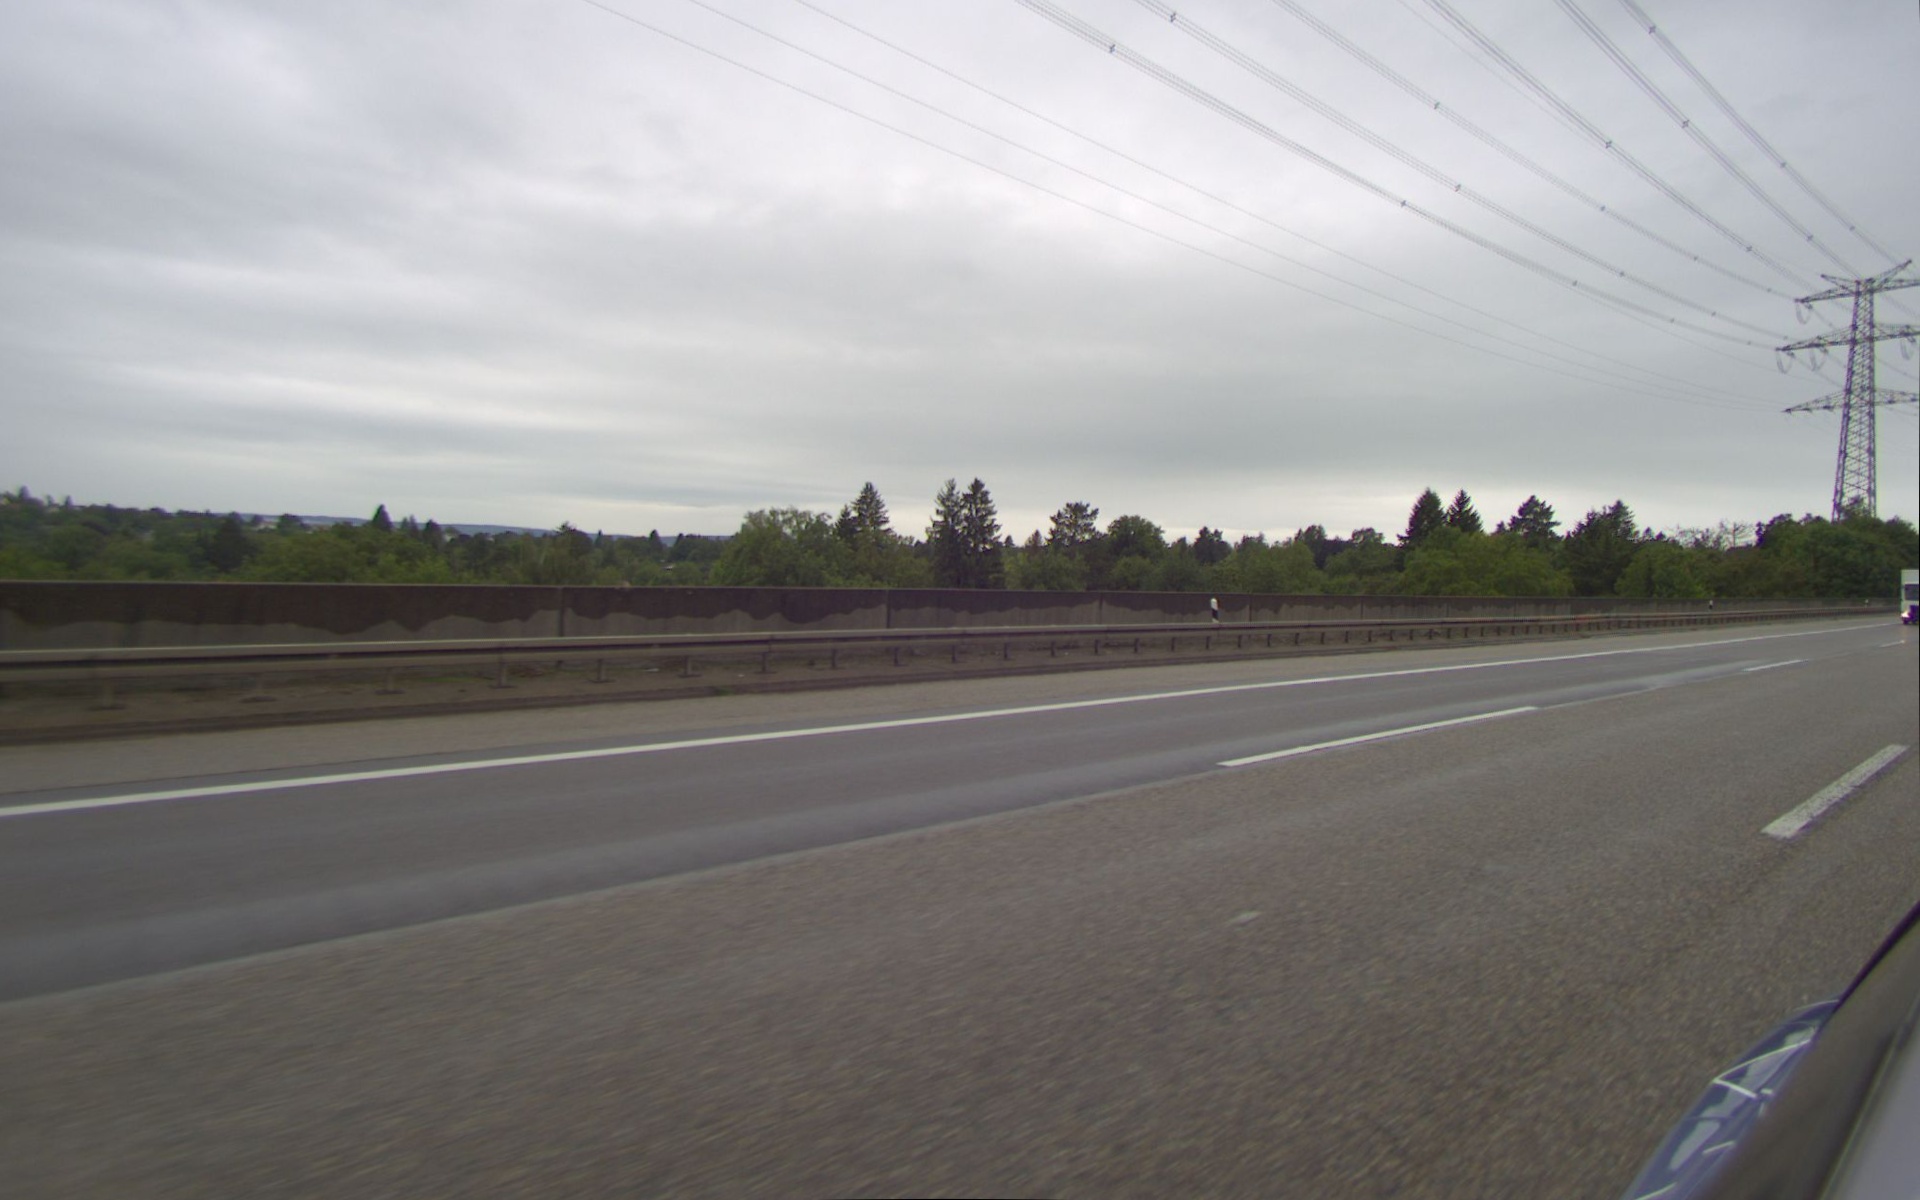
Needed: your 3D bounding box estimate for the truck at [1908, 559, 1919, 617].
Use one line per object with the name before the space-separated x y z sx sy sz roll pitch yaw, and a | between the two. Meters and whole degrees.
truck | 58.842 -0.714 60.377 6.809 3.386 2.647 0 1 -41
